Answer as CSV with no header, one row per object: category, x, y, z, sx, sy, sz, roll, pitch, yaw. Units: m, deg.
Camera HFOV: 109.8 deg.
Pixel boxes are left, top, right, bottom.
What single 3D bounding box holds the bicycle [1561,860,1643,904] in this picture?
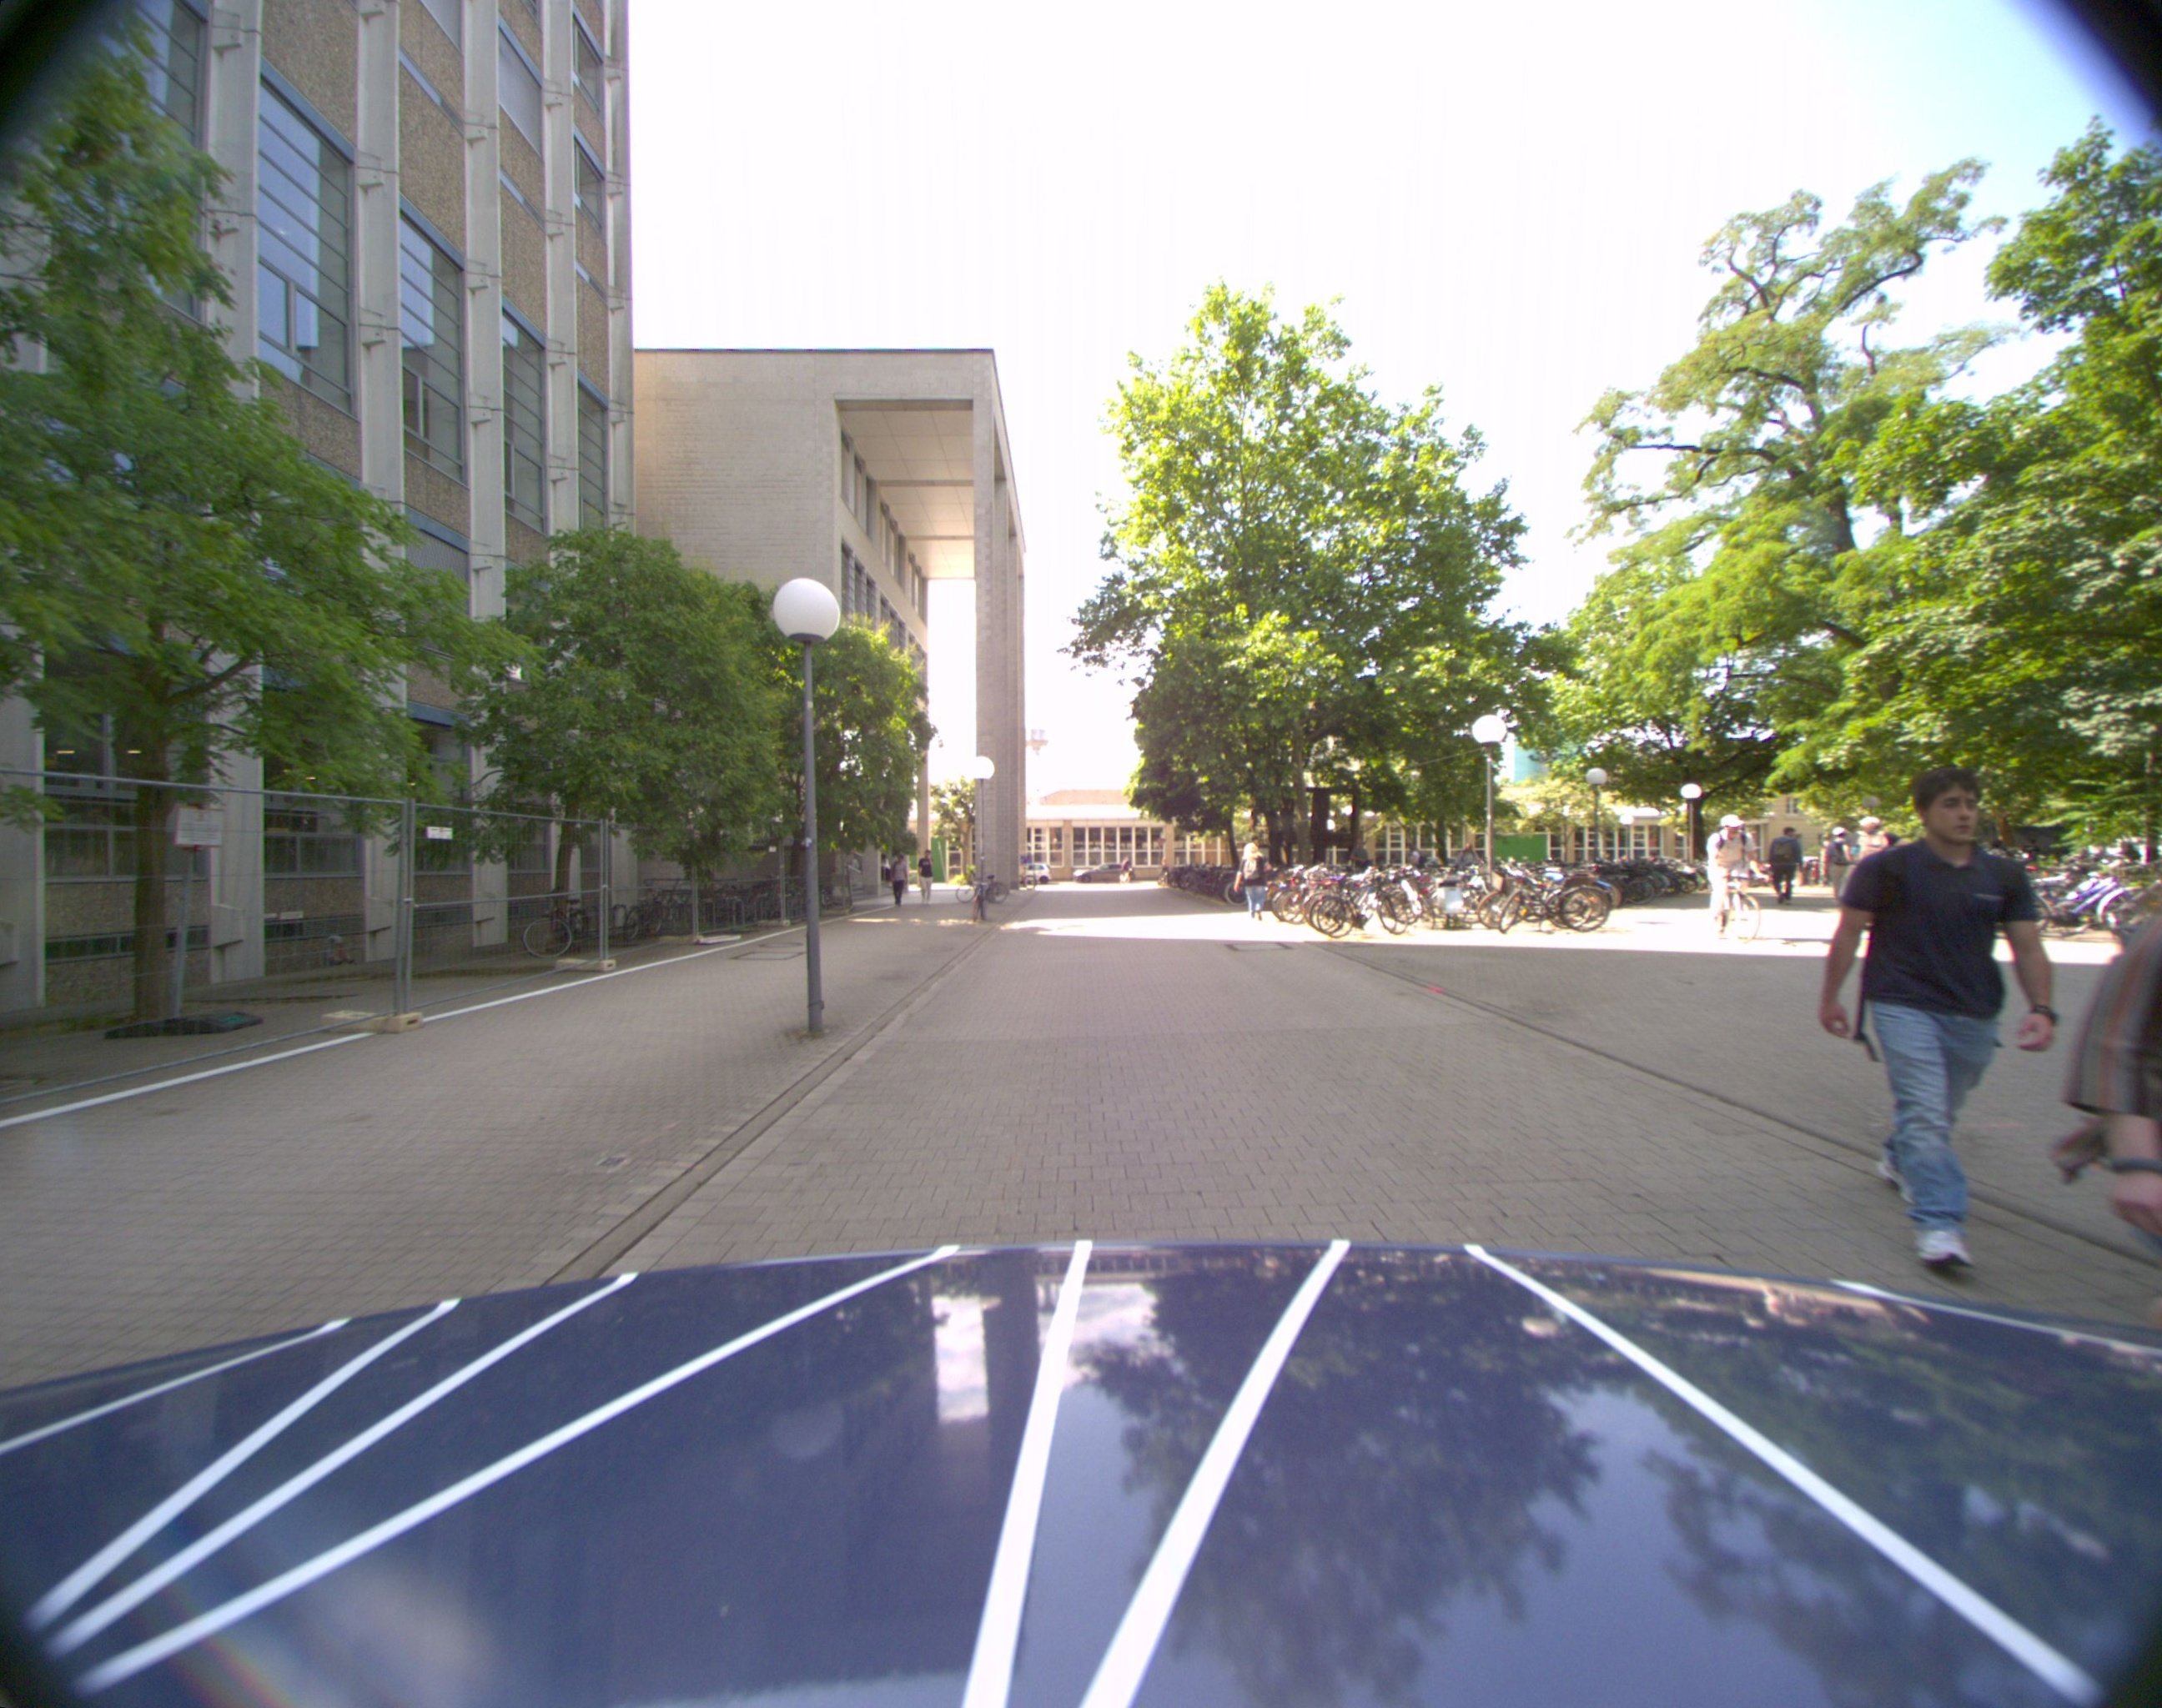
bicycle,13.356,0.705,19.517,1.695,1.077,0.475,-1,1,35

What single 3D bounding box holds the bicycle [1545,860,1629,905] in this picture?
bicycle,12.528,0.701,18.840,1.695,1.077,0.475,-1,1,35

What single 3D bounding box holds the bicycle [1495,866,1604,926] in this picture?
bicycle,8.961,0.781,14.572,1.695,1.077,0.475,-1,1,41

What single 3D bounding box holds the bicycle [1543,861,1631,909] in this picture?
bicycle,11.869,0.717,17.848,1.695,1.077,0.475,-1,1,35

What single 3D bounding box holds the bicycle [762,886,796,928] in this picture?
bicycle,-7.155,1.241,18.027,0.291,0.900,1.447,-1,0,-3

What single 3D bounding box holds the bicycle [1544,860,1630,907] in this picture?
bicycle,12.138,0.711,18.258,1.695,1.077,0.475,-1,1,35

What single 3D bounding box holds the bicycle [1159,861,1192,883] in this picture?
bicycle,4.877,0.936,39.279,1.628,1.101,0.497,-1,-2,0

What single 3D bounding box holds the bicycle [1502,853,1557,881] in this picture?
bicycle,18.757,0.541,31.815,0.503,1.101,2.001,-2,1,-30

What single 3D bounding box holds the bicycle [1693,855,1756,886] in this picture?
bicycle,23.872,0.606,28.210,0.475,1.077,1.695,-2,1,-34

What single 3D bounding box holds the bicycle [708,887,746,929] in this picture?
bicycle,-8.292,1.249,17.839,0.291,0.900,1.447,-1,0,-3

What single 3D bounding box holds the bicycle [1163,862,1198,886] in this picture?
bicycle,4.818,0.961,36.892,1.628,1.101,0.629,-2,1,4

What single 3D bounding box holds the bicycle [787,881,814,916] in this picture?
bicycle,-7.958,1.253,21.600,0.291,0.900,1.447,-1,0,-3

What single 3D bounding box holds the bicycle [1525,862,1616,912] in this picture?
bicycle,11.022,0.728,17.130,1.695,1.077,0.475,-1,1,35

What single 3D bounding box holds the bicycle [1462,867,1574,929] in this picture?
bicycle,7.939,0.803,13.877,1.696,1.077,0.475,-1,1,19

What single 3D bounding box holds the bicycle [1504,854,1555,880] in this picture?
bicycle,20.182,0.572,34.231,0.503,1.101,2.001,-2,1,-30

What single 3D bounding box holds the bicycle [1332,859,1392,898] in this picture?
bicycle,8.897,0.757,24.080,0.577,1.193,1.695,-2,1,-40

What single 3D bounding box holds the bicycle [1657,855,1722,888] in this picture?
bicycle,21.121,0.598,26.391,0.475,1.077,1.695,-2,1,-39

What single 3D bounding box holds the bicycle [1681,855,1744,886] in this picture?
bicycle,23.025,0.585,27.741,0.475,1.077,1.695,-2,1,-39

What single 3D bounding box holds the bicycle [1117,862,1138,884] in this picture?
bicycle,2.610,1.050,42.329,0.772,1.144,2.110,0,1,14

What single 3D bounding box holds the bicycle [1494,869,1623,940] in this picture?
bicycle,7.690,0.817,12.294,1.697,1.104,0.474,-2,1,12

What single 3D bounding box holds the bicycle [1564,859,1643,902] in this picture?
bicycle,13.684,0.697,19.931,1.695,1.077,0.475,-1,1,35

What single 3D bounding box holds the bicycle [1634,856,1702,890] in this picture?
bicycle,19.356,0.620,25.063,0.475,1.077,1.695,-2,1,-39

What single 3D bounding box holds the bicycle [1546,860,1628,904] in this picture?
bicycle,12.784,0.708,19.242,1.695,1.077,0.475,-1,1,35

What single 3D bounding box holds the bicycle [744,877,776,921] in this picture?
bicycle,-8.460,1.162,20.050,0.291,1.088,1.447,-1,0,-3

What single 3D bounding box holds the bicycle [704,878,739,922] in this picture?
bicycle,-9.455,1.190,20.036,0.291,1.092,1.447,-1,0,-3

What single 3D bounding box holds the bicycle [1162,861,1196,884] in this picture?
bicycle,4.814,0.921,37.454,1.628,1.101,0.497,-2,1,5

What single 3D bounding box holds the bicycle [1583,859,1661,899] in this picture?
bicycle,15.075,0.684,21.197,1.695,1.077,0.475,-1,1,42

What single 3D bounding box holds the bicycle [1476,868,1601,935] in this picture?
bicycle,7.688,0.797,12.832,1.721,1.077,0.474,-2,1,15

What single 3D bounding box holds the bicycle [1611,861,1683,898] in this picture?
bicycle,17.298,0.761,23.262,0.475,1.077,1.695,-2,1,-39

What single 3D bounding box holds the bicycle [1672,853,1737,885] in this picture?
bicycle,22.021,0.534,26.870,0.475,1.077,1.695,-2,1,-39

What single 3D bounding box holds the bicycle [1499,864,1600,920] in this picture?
bicycle,9.570,0.757,15.556,1.695,1.077,0.475,-1,1,41

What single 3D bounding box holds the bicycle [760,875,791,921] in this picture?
bicycle,-8.068,1.145,20.103,0.291,1.121,1.447,-1,0,-3

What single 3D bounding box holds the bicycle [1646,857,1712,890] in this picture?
bicycle,20.313,0.654,25.834,0.475,1.077,1.695,-2,1,-39

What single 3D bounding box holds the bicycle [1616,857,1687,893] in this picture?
bicycle,17.741,0.642,23.649,0.475,1.077,1.695,-2,1,-39

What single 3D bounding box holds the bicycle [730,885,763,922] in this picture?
bicycle,-8.808,1.300,20.042,0.291,0.882,1.447,-1,0,-3

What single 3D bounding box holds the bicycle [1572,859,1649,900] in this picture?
bicycle,14.449,0.691,20.750,1.695,1.077,0.475,-1,1,35

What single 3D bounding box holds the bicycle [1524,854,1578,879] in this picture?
bicycle,21.249,0.567,34.397,0.503,1.101,2.025,-2,1,-33

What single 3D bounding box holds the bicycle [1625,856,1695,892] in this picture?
bicycle,18.556,0.633,24.384,0.475,1.077,1.695,-2,1,-39

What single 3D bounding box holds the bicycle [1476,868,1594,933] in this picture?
bicycle,7.924,0.806,13.317,1.696,1.077,0.475,-1,1,19

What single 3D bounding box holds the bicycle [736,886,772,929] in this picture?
bicycle,-7.692,1.241,17.932,0.291,0.900,1.447,-1,0,-3

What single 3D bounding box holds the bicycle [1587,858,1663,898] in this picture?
bicycle,15.450,0.678,21.594,1.695,1.077,0.475,-1,1,42

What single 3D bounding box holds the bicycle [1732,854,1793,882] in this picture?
bicycle,26.765,0.550,29.861,0.475,1.077,1.696,-2,1,-29

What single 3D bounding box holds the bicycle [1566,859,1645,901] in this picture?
bicycle,13.995,0.699,20.314,1.695,1.077,0.475,-1,1,35

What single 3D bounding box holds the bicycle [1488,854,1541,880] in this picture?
bicycle,19.061,0.586,33.462,0.503,1.101,2.001,-2,1,-30

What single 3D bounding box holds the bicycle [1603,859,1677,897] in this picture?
bicycle,16.684,0.702,22.715,0.475,1.077,1.695,-2,1,-39

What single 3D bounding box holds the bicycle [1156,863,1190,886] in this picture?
bicycle,4.614,1.004,38.025,1.628,1.101,0.497,-2,1,5

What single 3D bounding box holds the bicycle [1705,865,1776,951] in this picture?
bicycle,9.461,0.733,10.944,0.602,1.077,1.703,-1,1,35

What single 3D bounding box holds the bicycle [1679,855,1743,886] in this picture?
bicycle,22.578,0.594,27.245,0.475,1.077,1.695,-2,1,-39

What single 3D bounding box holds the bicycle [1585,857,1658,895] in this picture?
bicycle,16.078,0.654,22.627,0.475,1.077,1.695,-2,1,-39

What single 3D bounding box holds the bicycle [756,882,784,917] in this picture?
bicycle,-8.829,1.274,21.605,0.291,0.900,1.447,-1,0,-3

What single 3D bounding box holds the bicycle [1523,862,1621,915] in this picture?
bicycle,10.489,0.727,16.263,1.695,1.077,0.475,-1,1,38

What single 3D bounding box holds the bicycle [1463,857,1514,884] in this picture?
bicycle,17.216,0.701,32.114,0.503,1.101,1.902,-2,1,-30

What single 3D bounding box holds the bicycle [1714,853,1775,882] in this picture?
bicycle,25.610,0.524,29.342,0.475,1.077,1.696,-2,1,-29

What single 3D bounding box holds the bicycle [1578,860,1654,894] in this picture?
bicycle,15.683,0.670,22.310,0.453,0.956,1.735,-2,1,-39

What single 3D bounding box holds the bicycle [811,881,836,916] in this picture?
bicycle,-7.268,1.251,21.457,0.291,0.900,1.447,-1,0,-3

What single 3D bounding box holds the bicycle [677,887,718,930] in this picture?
bicycle,-8.968,1.257,17.794,0.291,0.900,1.447,-1,0,-3
